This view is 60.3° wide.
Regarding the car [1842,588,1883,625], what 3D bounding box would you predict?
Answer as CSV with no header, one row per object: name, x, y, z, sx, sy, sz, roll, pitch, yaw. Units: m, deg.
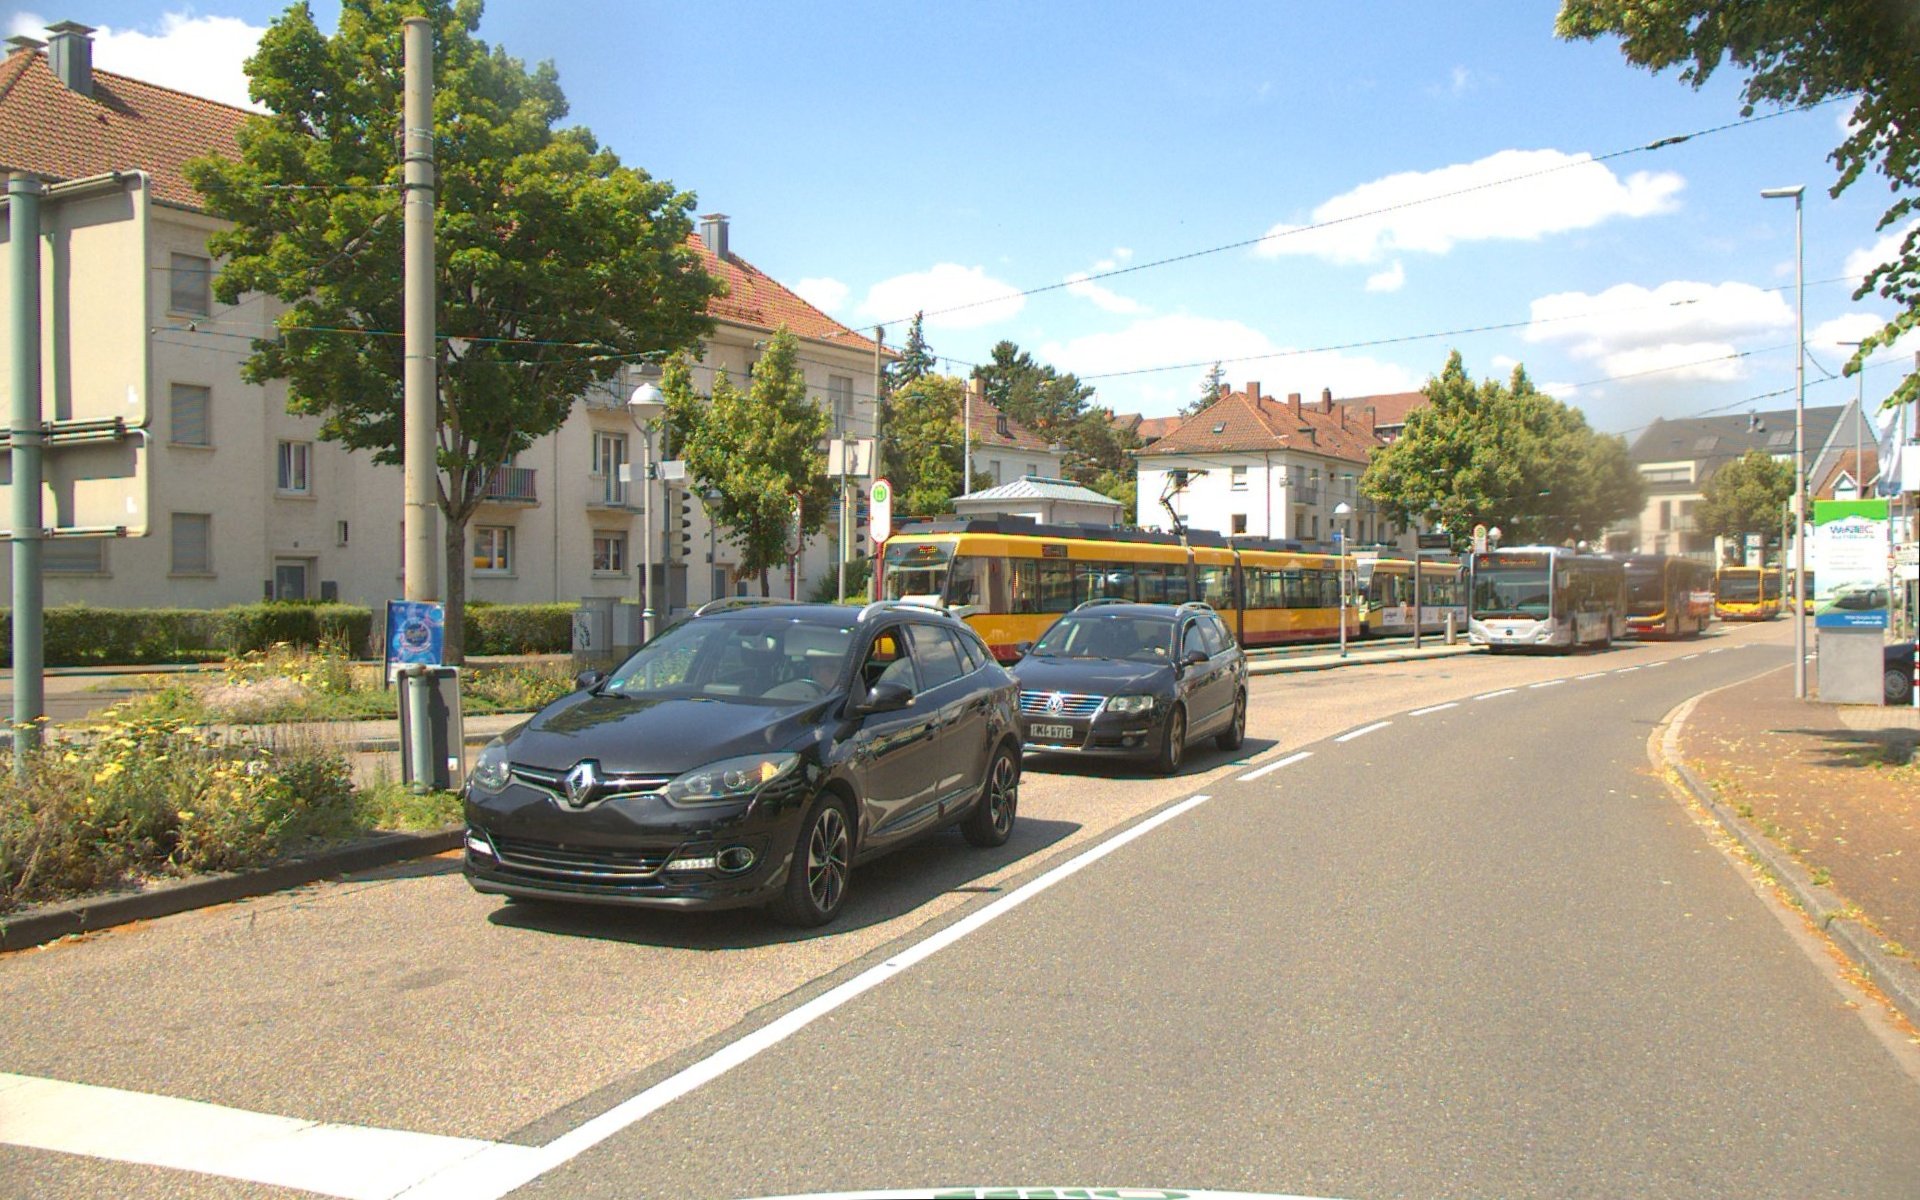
car,51.170,0.354,93.759,1.776,2.016,3.989,0,0,33

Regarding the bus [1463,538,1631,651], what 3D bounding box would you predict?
bus,18.785,-0.148,52.316,2.680,3.184,11.980,0,0,31

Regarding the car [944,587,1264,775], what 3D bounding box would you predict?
car,1.586,0.679,16.246,1.952,1.546,4.512,1,0,21

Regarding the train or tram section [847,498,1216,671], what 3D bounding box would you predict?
train or tram section,2.385,-0.309,41.492,2.758,3.631,14.146,0,0,31

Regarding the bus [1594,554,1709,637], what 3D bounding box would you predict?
bus,28.917,-0.165,68.787,2.680,3.184,11.980,0,0,31

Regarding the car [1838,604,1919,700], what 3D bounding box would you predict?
car,15.873,0.789,25.102,1.880,1.464,4.120,0,-1,-35

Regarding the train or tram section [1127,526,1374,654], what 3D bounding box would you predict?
train or tram section,9.868,-0.281,53.783,2.734,3.631,14.670,0,0,31

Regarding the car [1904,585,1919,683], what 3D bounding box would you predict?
car,19.229,0.621,29.523,1.807,1.825,4.006,0,-1,-17

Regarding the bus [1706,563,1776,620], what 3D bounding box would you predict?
bus,47.110,-0.483,99.569,2.680,3.275,11.023,0,0,31

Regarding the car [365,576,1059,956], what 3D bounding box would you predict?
car,-0.998,0.673,9.133,1.952,1.526,4.427,1,0,19

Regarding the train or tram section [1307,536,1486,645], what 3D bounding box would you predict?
train or tram section,18.120,-0.334,67.500,2.734,3.963,15.514,0,0,31
